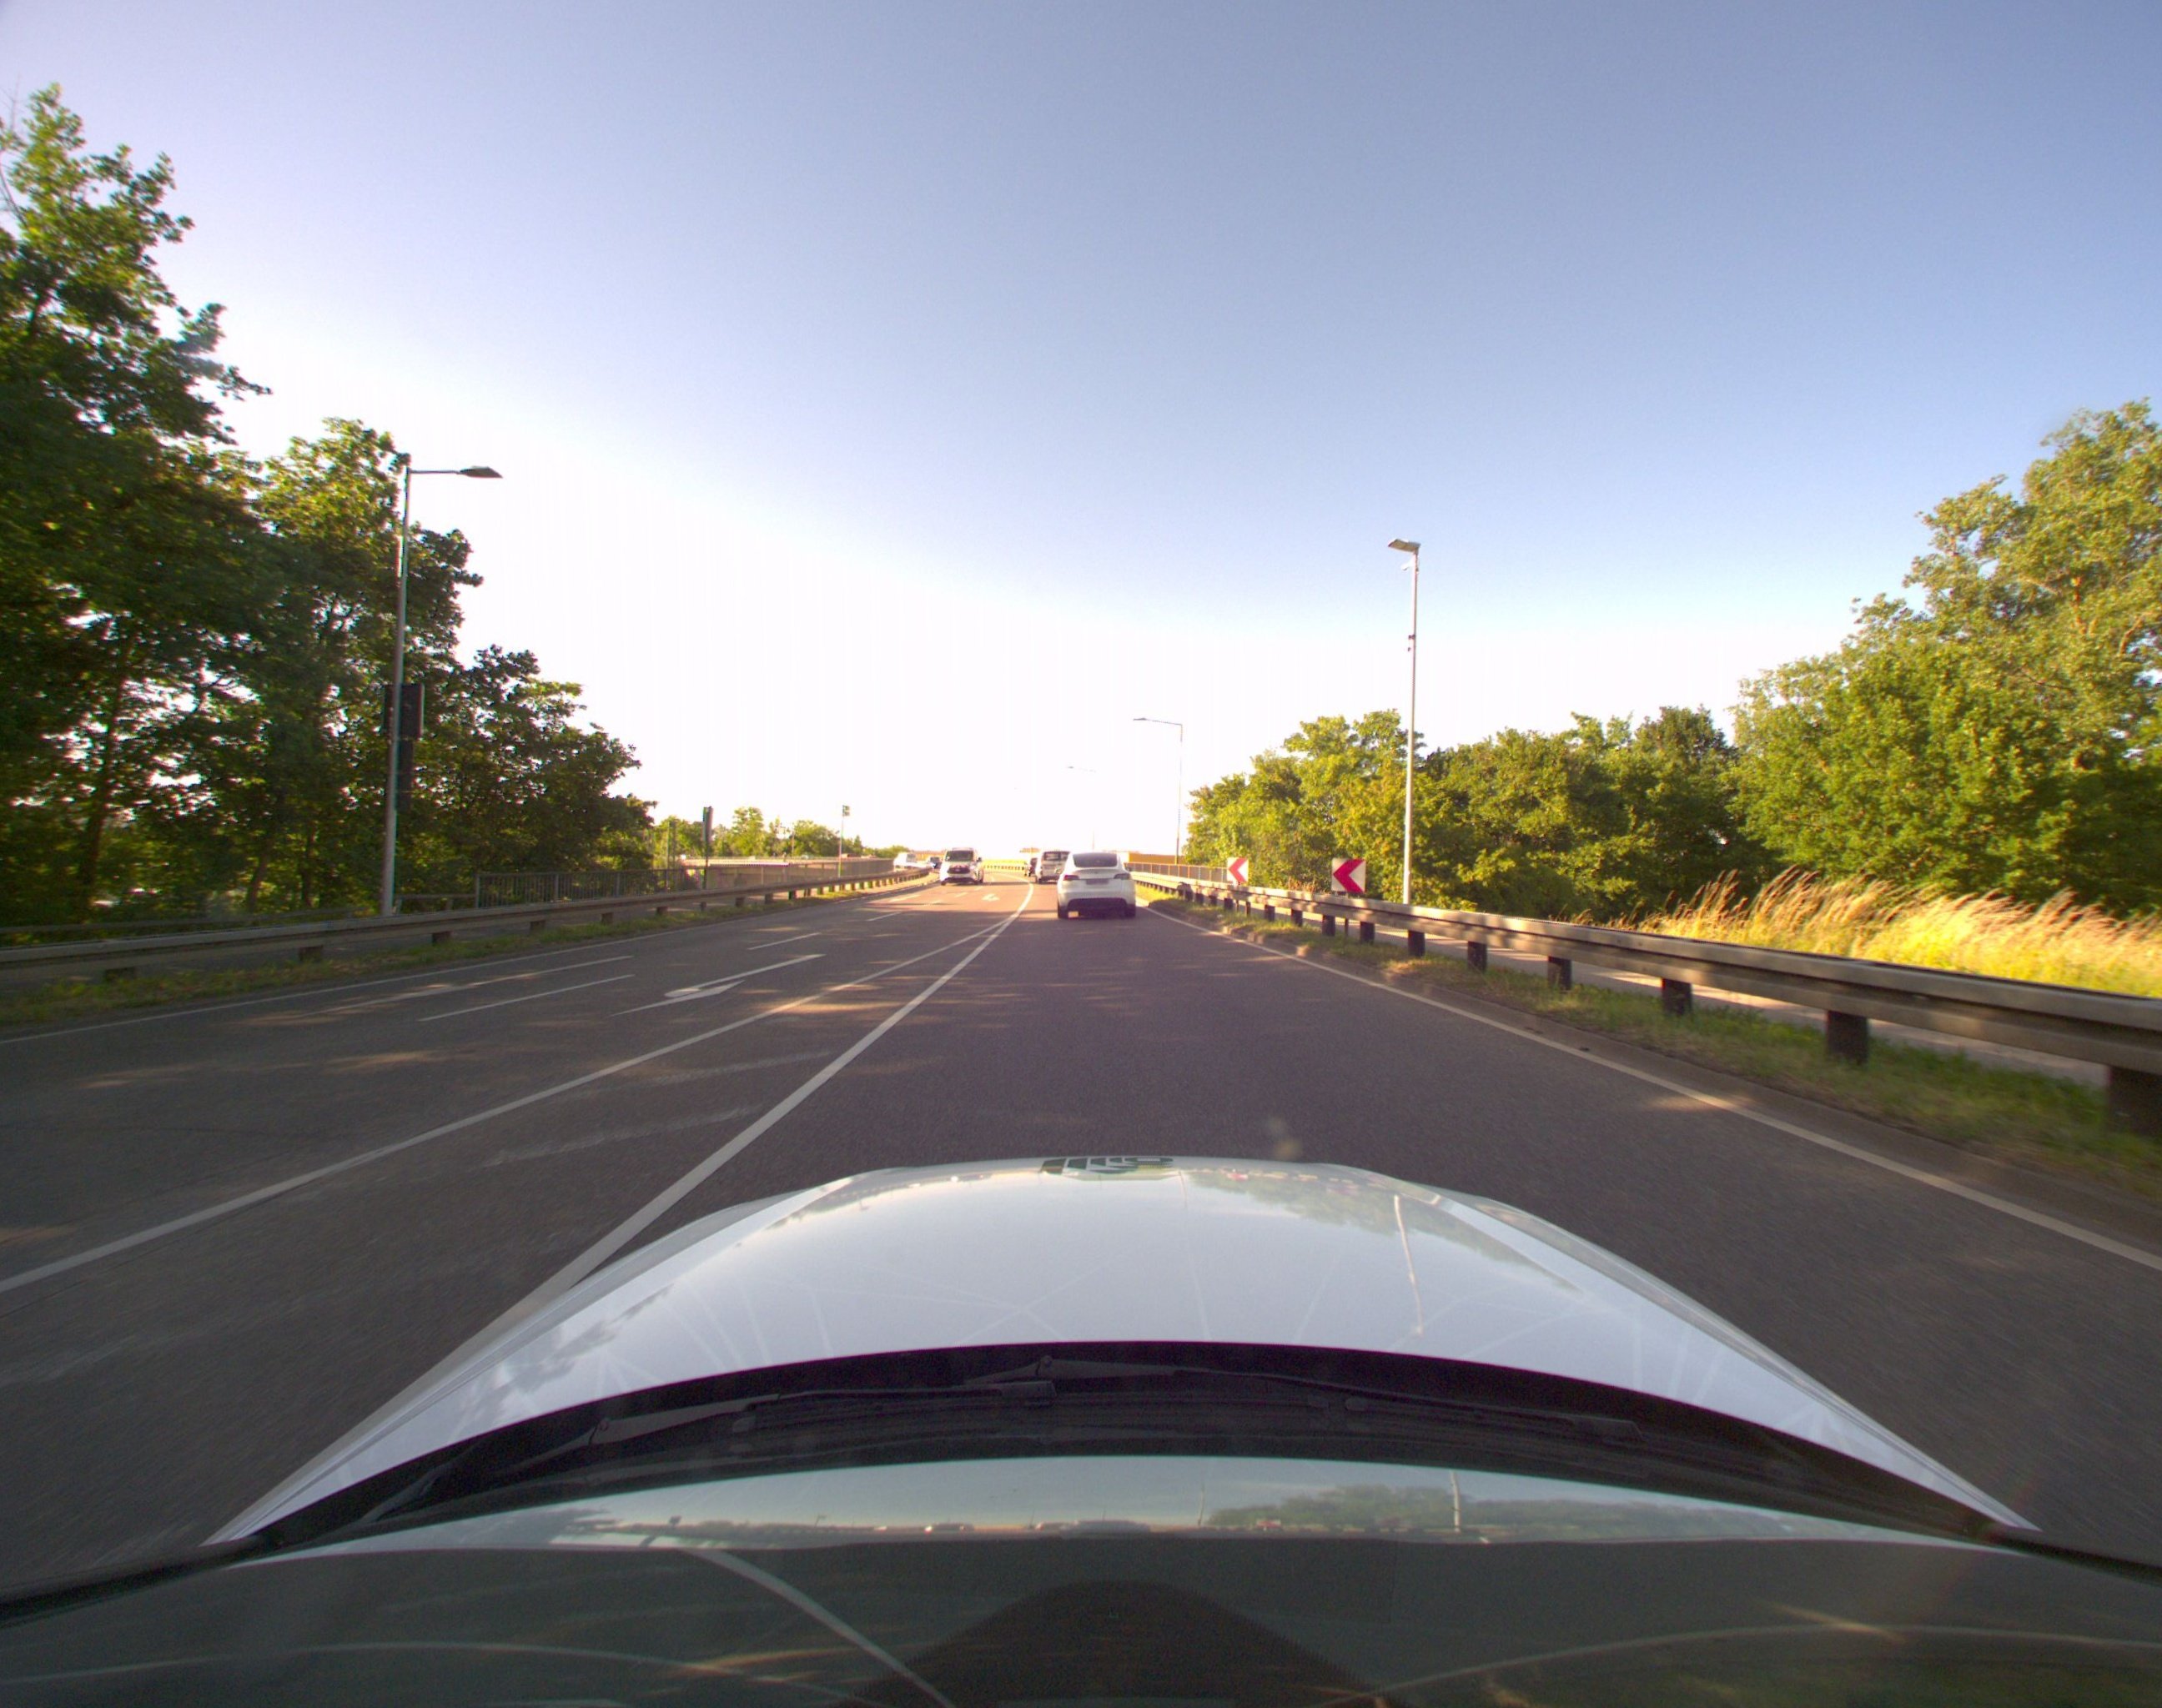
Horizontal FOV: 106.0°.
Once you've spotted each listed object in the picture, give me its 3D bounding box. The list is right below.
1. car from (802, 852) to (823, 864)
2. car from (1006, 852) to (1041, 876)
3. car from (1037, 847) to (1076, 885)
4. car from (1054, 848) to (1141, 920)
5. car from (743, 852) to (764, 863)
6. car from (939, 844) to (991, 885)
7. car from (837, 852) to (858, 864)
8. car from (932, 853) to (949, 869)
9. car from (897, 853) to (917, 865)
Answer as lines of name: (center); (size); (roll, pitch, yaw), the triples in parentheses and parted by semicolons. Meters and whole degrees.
car: (-45.985, 0.682, 139.388); (1.974, 1.950, 3.951); (0, 0, -45)
car: (-4.182, 0.706, 58.913); (1.970, 1.638, 3.983); (-1, 0, -12)
car: (-1.412, 0.622, 44.660); (2.001, 1.940, 4.461); (0, 0, -4)
car: (0.384, 0.697, 20.999); (1.979, 1.638, 4.061); (-1, 0, 0)
car: (-60.590, 0.696, 150.815); (3.949, 1.950, 1.975); (0, 0, 40)
car: (-6.263, 0.544, 44.567); (1.942, 2.112, 5.271); (0, 0, 1)
car: (-37.426, 0.662, 130.502); (1.972, 1.950, 3.953); (0, 0, -40)
car: (-14.874, 0.759, 86.090); (1.805, 1.638, 3.985); (0, 0, -11)
car: (-23.673, 0.679, 110.635); (1.845, 1.555, 3.859); (0, 0, -27)
